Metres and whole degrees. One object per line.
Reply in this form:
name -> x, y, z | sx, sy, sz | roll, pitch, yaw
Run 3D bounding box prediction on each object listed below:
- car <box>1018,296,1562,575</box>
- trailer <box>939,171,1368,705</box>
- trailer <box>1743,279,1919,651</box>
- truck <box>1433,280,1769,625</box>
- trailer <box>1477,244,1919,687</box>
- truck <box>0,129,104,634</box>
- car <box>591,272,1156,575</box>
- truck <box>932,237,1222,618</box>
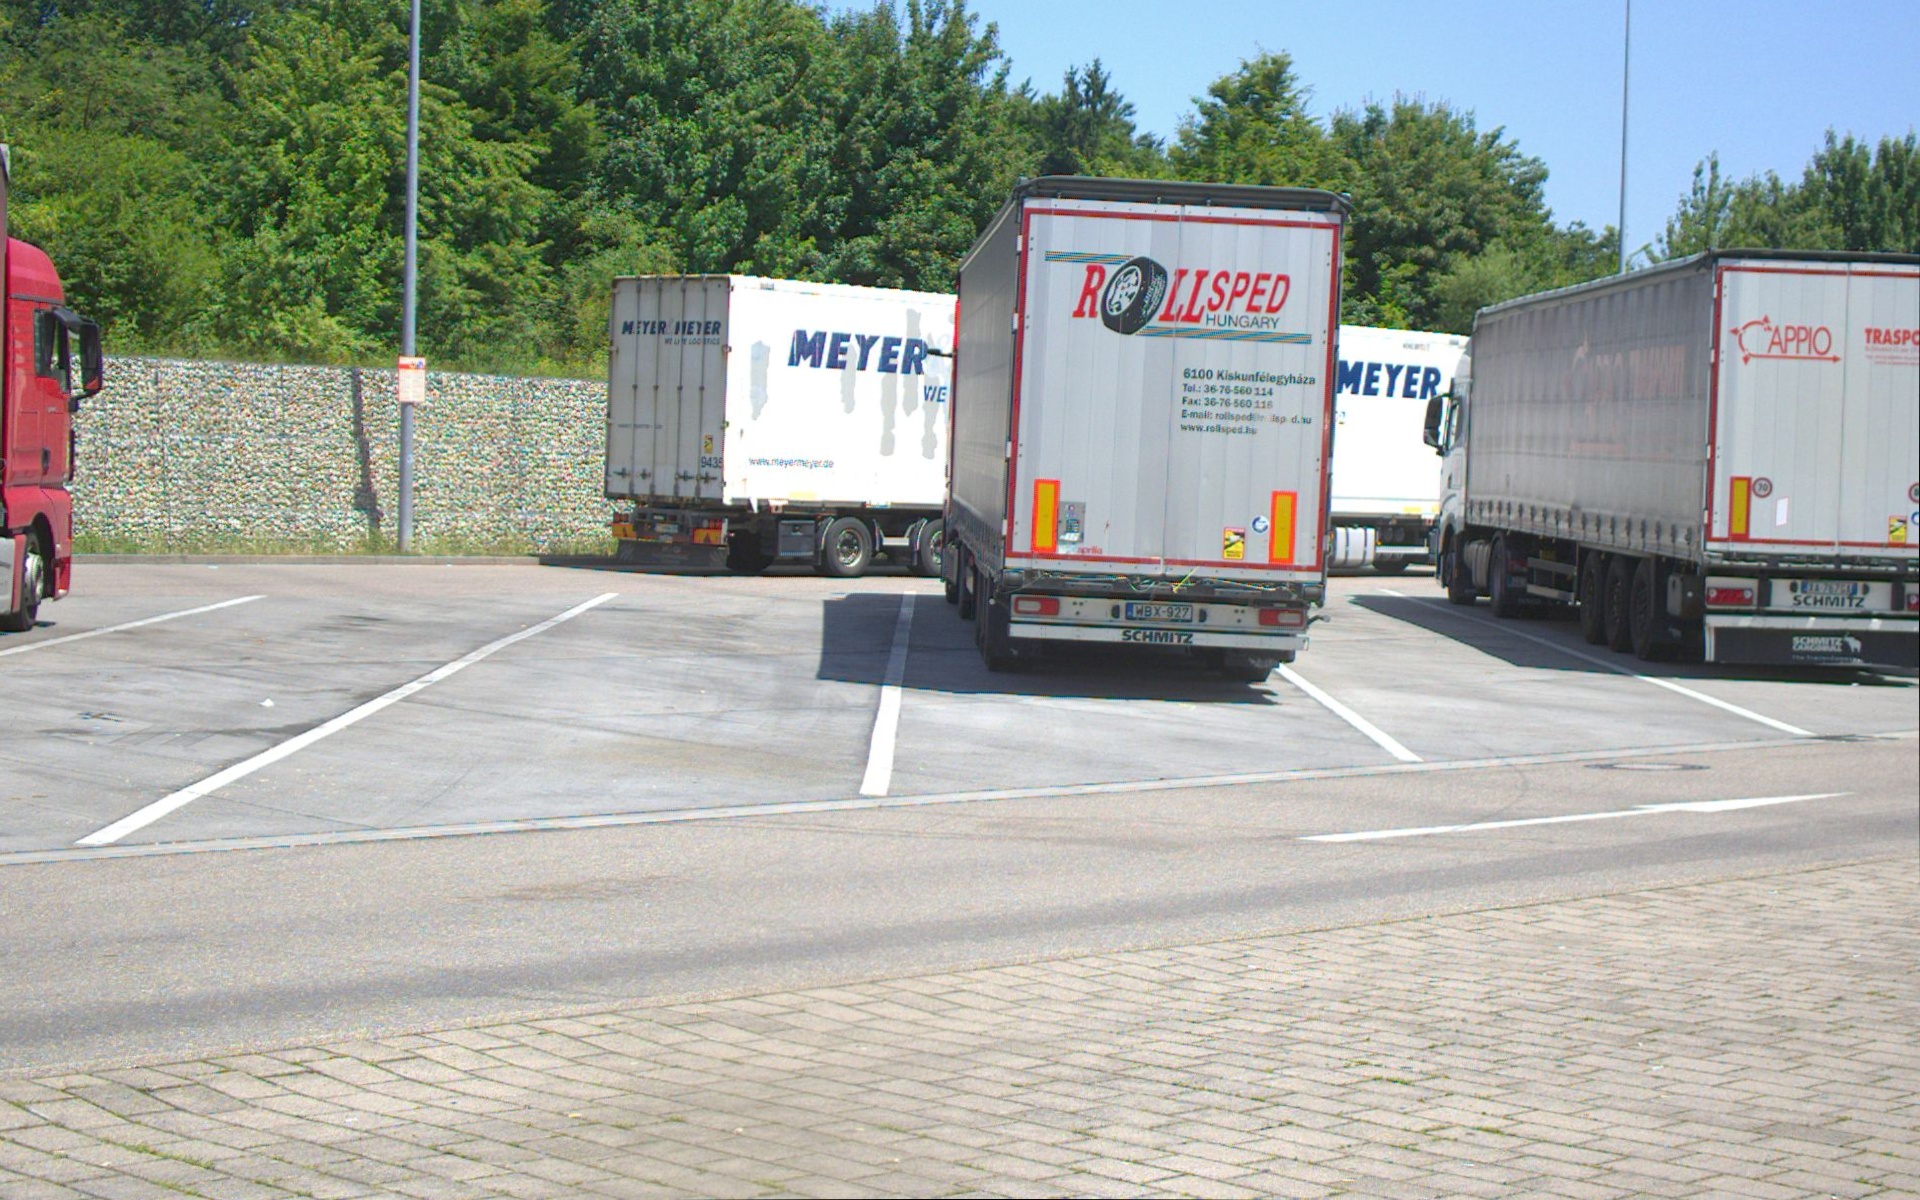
car -> 5.605, -2.600, 56.337 | 10.189, 4.174, 2.687 | -1, 5, -44
trailer -> 1.442, -1.636, 33.584 | 2.866, 4.023, 14.243 | 2, 3, -2
trailer -> 11.844, -1.529, 38.982 | 2.866, 4.023, 12.439 | 2, 3, 0
truck -> 8.131, -1.950, 44.546 | 2.866, 4.023, 6.957 | 2, 3, 0
trailer -> 8.188, -1.568, 37.919 | 2.866, 4.023, 12.439 | 2, 3, 0
truck -> -9.147, -1.811, 27.949 | 2.696, 4.099, 6.240 | 2, 3, 0
car -> -1.095, -2.478, 49.829 | 8.445, 4.030, 2.687 | -1, 5, -44
truck -> 1.233, -2.054, 40.663 | 2.866, 4.023, 7.028 | 2, 3, -2
